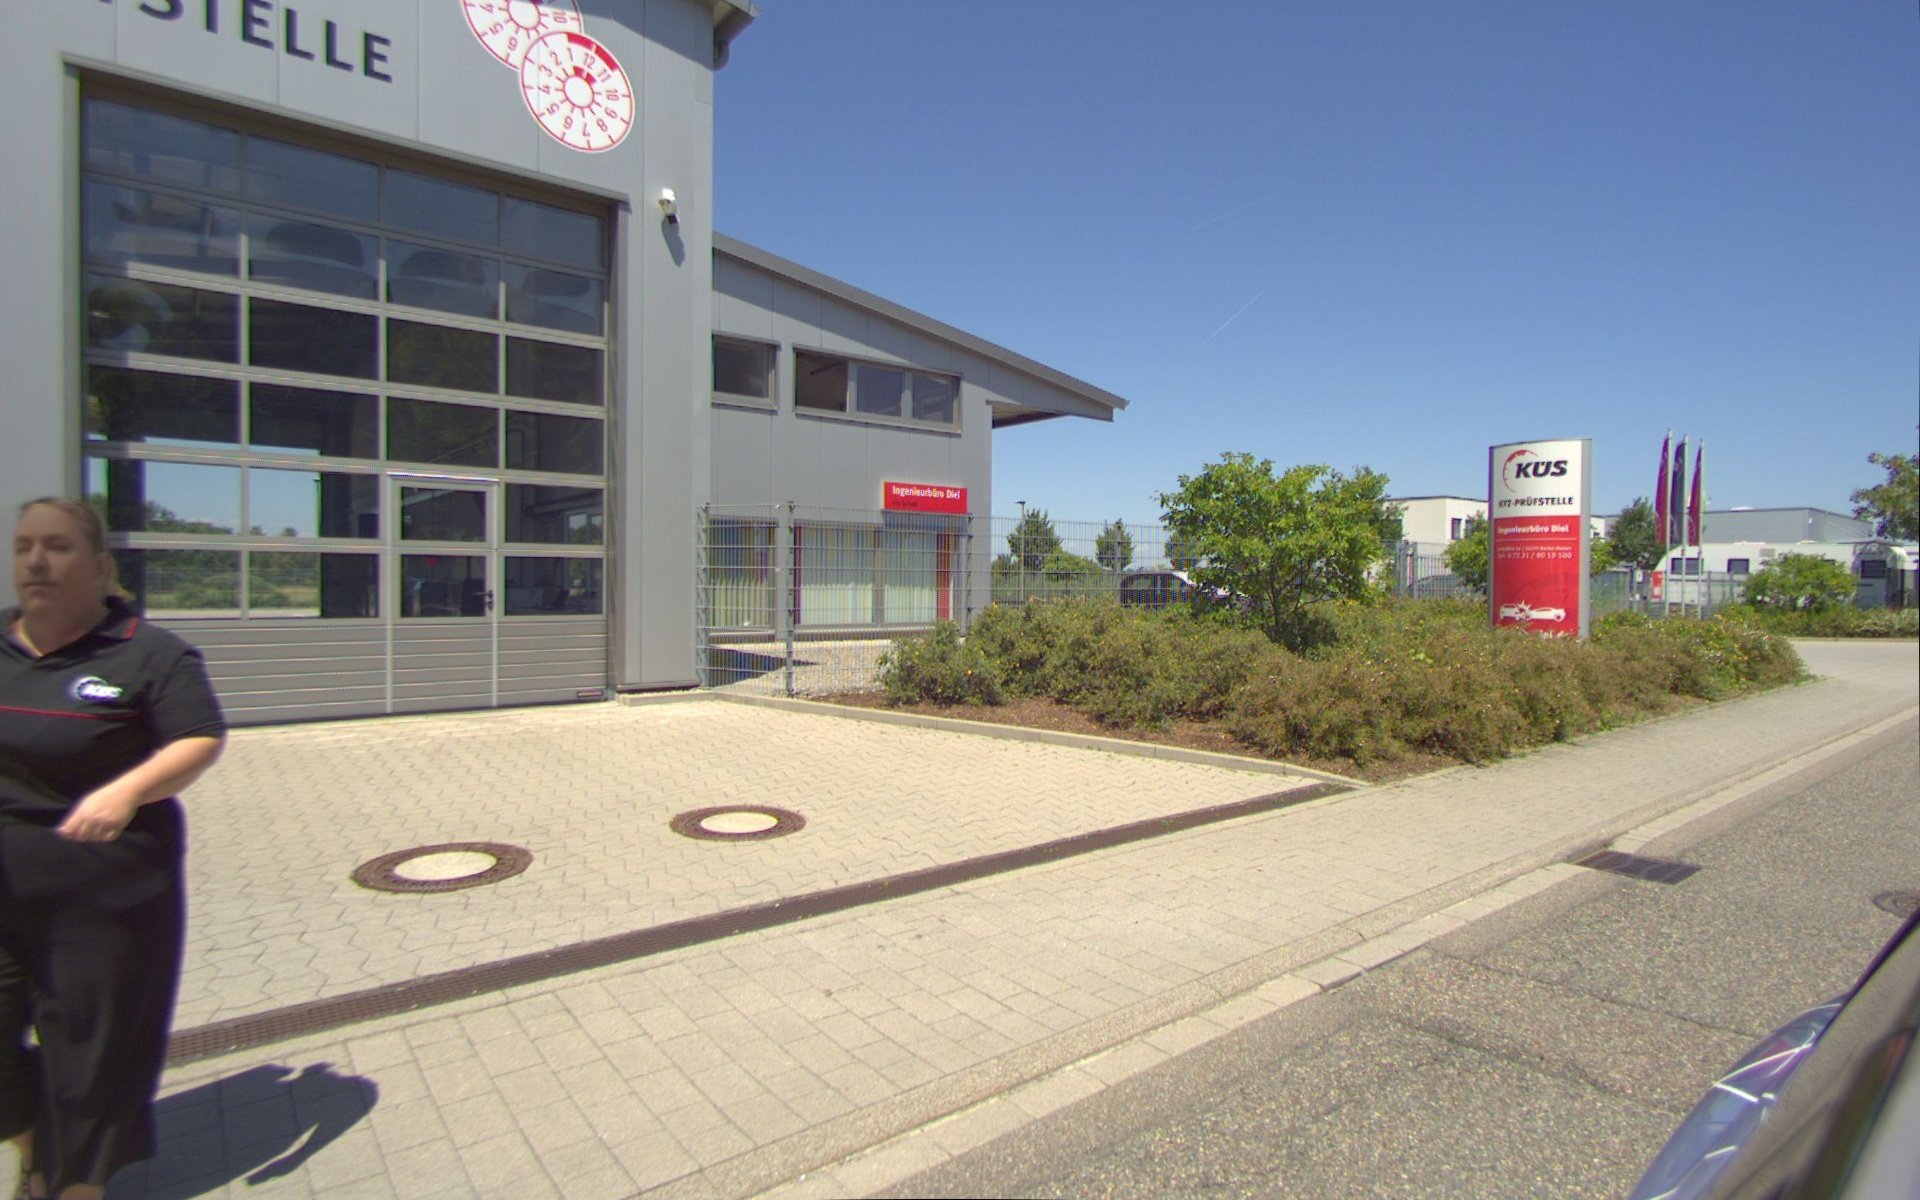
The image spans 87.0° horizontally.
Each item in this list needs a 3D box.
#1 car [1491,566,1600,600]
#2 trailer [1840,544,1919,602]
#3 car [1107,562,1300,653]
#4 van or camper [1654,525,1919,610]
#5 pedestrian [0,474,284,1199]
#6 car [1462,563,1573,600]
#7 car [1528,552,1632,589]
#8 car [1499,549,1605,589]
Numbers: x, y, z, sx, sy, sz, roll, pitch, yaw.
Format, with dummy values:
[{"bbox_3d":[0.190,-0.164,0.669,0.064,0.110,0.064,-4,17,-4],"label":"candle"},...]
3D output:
[{"bbox_3d":[27.099,-0.824,46.945,1.716,1.449,4.051,-1,2,-39],"label":"car"},{"bbox_3d":[40.459,-1.196,44.251,1.395,2.433,2.826,-1,3,-42],"label":"trailer"},{"bbox_3d":[4.959,0.089,20.937,1.673,1.698,3.619,-1,2,-39],"label":"car"},{"bbox_3d":[27.986,-1.100,34.447,2.588,2.617,6.773,-1,2,-39],"label":"van or camper"},{"bbox_3d":[-1.891,0.560,2.155,0.701,1.632,0.501,-1,5,-41],"label":"pedestrian"},{"bbox_3d":[25.178,-0.880,45.835,1.716,1.568,4.051,-1,2,-39],"label":"car"},{"bbox_3d":[30.951,-1.502,50.628,1.884,1.785,4.051,-1,2,-39],"label":"car"},{"bbox_3d":[28.846,-1.532,49.406,1.884,1.829,4.051,-1,2,-39],"label":"car"}]
